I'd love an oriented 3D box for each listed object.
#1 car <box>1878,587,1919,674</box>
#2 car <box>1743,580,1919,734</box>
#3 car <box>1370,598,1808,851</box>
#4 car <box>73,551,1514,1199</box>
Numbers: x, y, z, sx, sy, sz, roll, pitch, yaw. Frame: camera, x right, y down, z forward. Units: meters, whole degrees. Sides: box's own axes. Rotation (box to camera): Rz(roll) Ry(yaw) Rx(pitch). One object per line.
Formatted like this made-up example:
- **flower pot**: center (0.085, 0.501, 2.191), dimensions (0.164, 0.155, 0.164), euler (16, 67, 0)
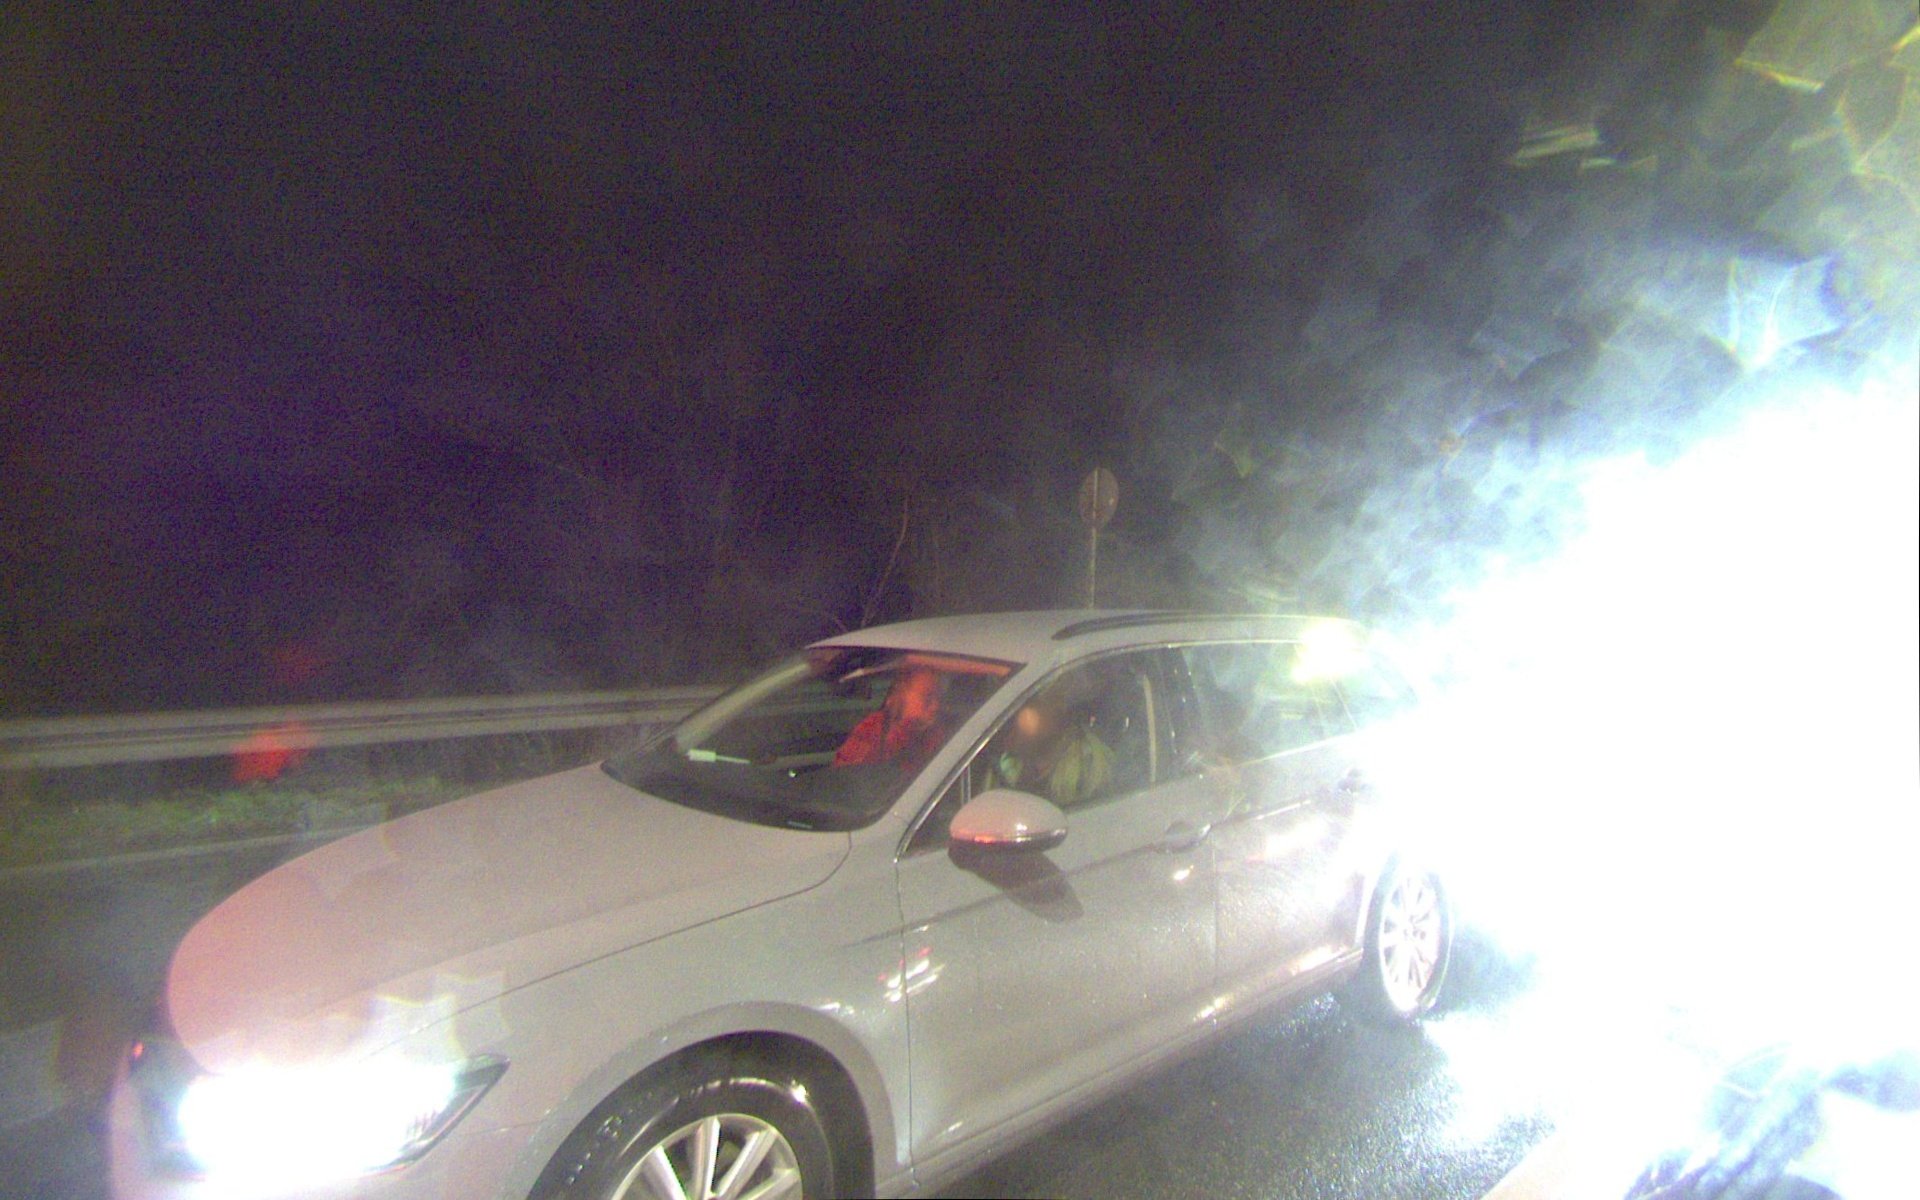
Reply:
- **car**: center (19.764, 0.563, 19.923), dimensions (4.315, 1.618, 1.997), euler (-1, 2, -41)
- **car**: center (11.520, 0.582, 12.582), dimensions (4.315, 1.618, 1.997), euler (-1, 2, -41)
- **car**: center (5.045, 0.719, 7.891), dimensions (4.067, 1.435, 1.742), euler (-1, 0, -40)
- **car**: center (0.019, 0.684, 3.312), dimensions (4.336, 1.541, 1.710), euler (-1, 0, -40)
